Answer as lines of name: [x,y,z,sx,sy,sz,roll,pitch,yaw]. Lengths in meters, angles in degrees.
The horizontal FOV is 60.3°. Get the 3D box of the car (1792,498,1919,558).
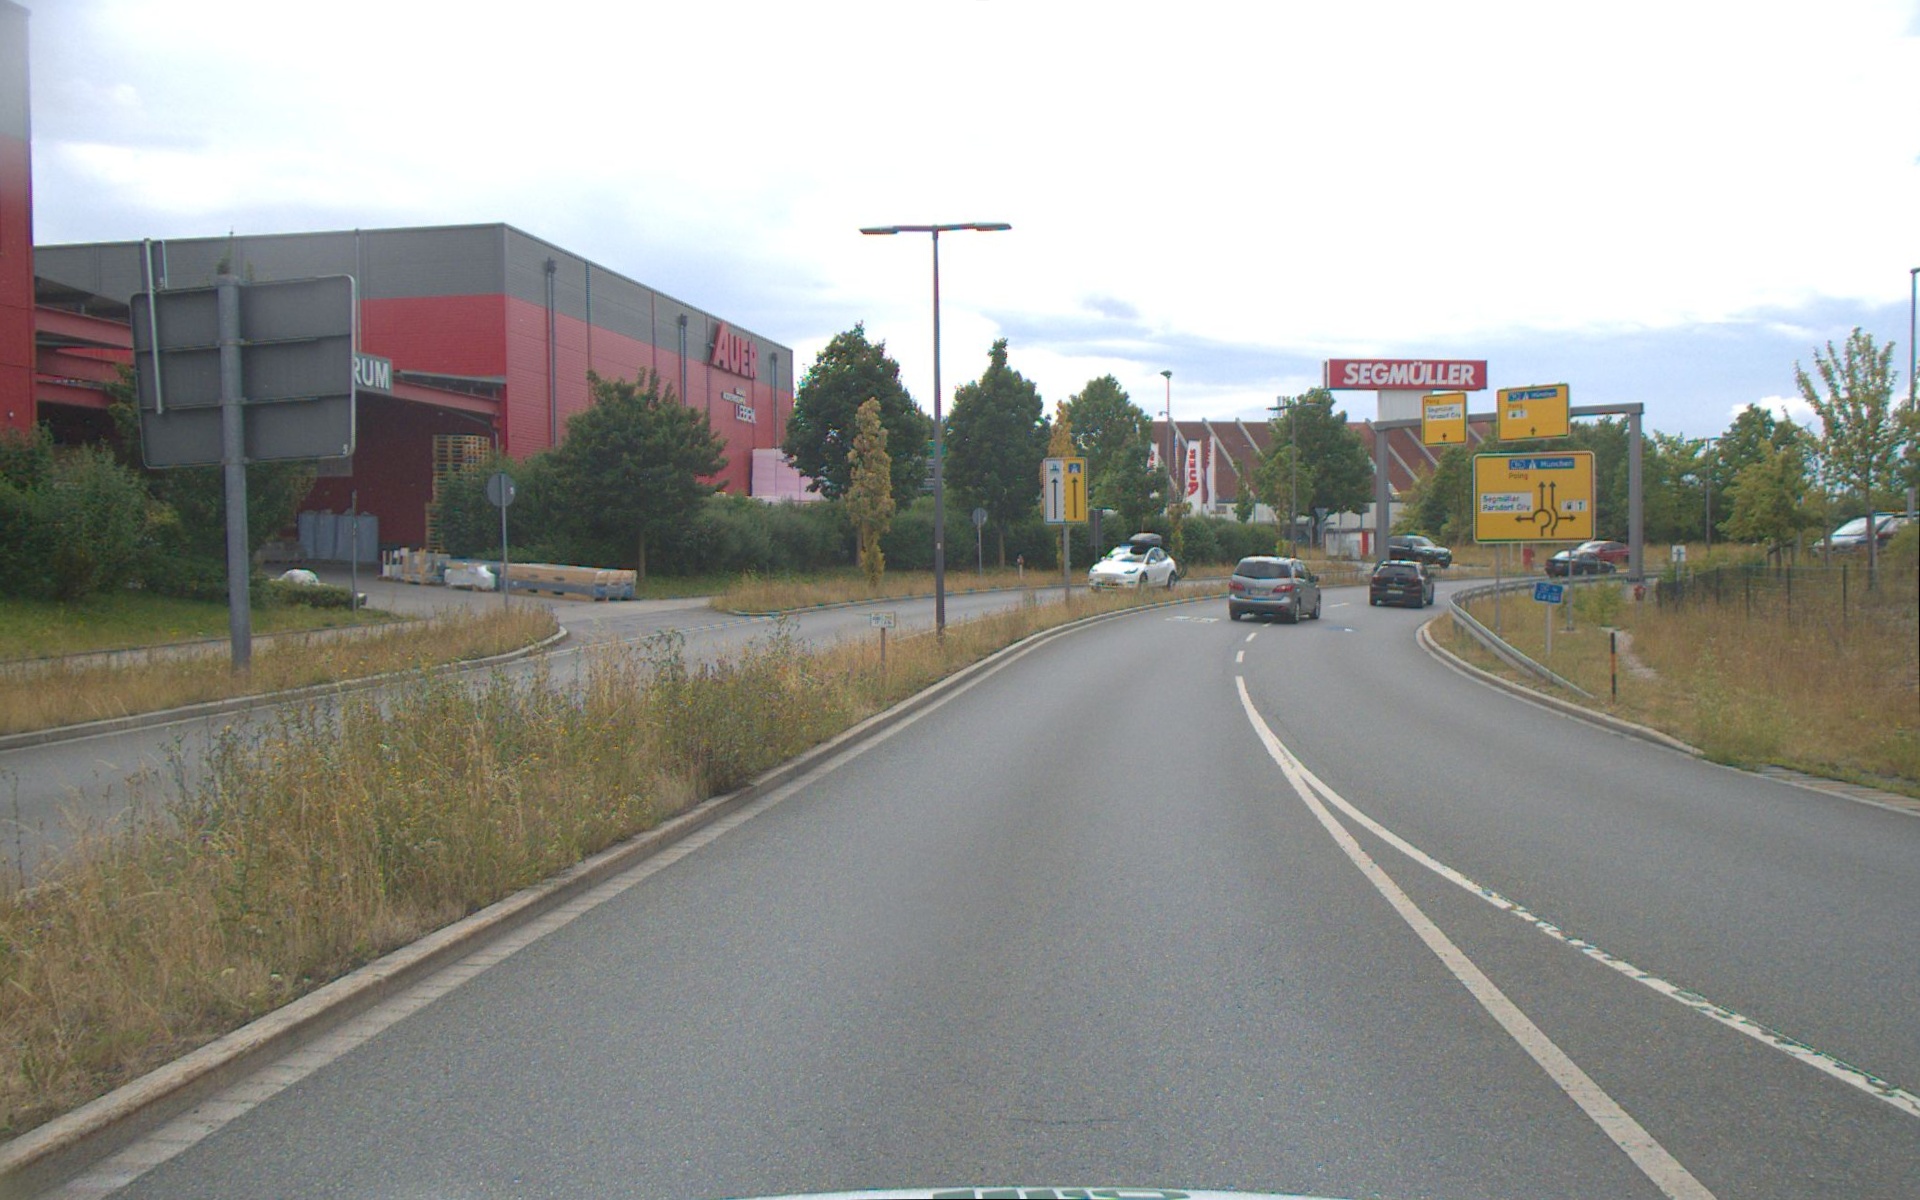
car: [29.300,-2.331,53.694,4.097,1.813,1.794,1,3,-22]

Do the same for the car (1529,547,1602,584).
car: [27.901,-1.580,76.138,1.878,1.646,3.977,1,1,41]

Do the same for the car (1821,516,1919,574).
car: [28.934,-1.686,51.430,3.791,1.681,1.723,1,3,-21]

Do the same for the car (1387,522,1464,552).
car: [25.380,-3.460,90.314,1.843,1.576,4.226,-1,3,-23]

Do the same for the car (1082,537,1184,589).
car: [6.139,-1.320,58.316,1.873,1.654,4.631,4,3,28]

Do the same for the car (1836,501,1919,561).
car: [28.012,-2.033,48.975,3.664,1.681,1.512,1,3,-18]

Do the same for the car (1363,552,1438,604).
car: [14.348,-0.727,53.762,1.831,1.633,3.734,0,1,23]

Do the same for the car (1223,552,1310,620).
car: [7.976,-0.378,42.783,1.730,1.645,3.924,1,1,17]
